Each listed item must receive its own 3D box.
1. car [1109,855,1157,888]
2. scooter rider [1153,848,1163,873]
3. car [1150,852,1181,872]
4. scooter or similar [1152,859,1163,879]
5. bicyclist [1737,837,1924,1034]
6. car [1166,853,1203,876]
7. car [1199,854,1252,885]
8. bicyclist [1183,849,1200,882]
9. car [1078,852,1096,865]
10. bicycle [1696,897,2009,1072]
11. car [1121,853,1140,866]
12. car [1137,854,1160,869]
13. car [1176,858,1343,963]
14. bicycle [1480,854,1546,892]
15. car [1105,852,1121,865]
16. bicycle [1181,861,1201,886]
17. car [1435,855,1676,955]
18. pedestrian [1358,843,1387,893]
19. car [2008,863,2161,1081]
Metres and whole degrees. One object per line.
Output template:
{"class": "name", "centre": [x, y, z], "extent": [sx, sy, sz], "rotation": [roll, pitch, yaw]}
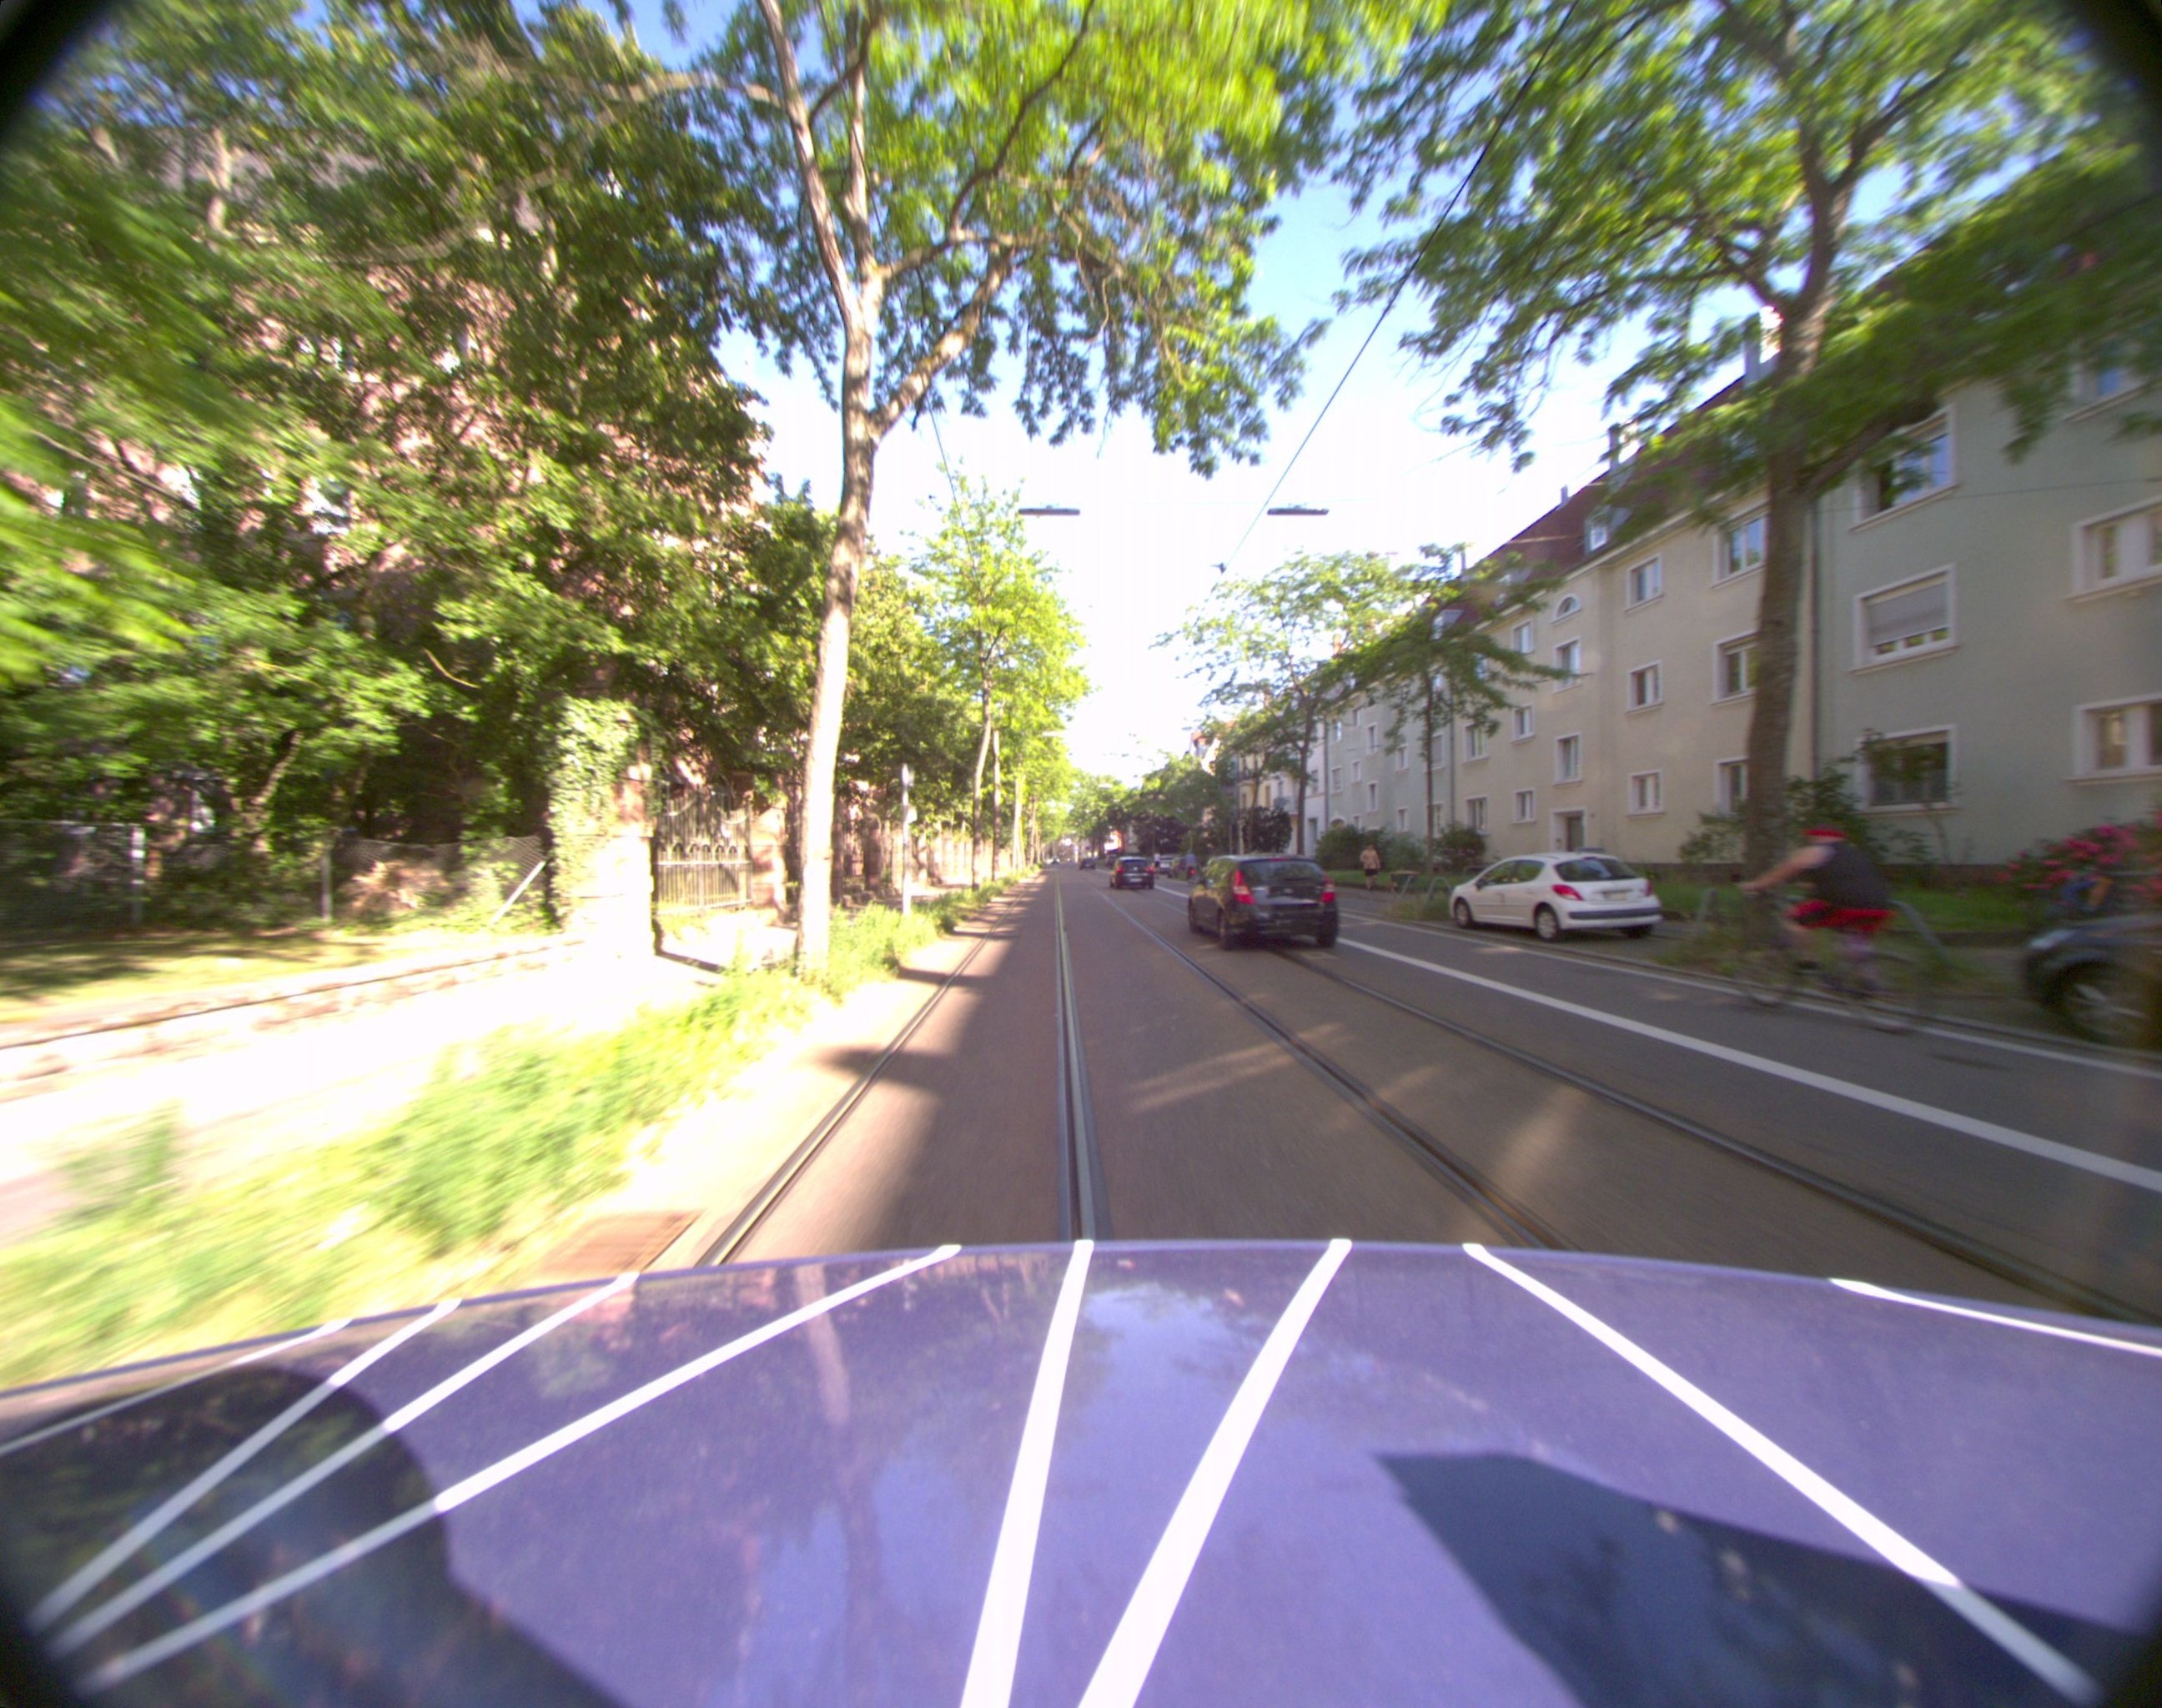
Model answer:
{"class": "car", "centre": [2.309, 0.759, 34.882], "extent": [1.704, 1.431, 4.070], "rotation": [-1, 0, -3]}
{"class": "scooter rider", "centre": [5.216, 0.441, 51.523], "extent": [0.498, 1.689, 0.786], "rotation": [3, 0, -2]}
{"class": "car", "centre": [7.006, 0.647, 63.522], "extent": [1.822, 1.502, 4.370], "rotation": [-2, 0, -3]}
{"class": "scooter or similar", "centre": [5.191, 1.003, 51.475], "extent": [0.521, 1.290, 1.377], "rotation": [3, 0, -2]}
{"class": "bicyclist", "centre": [6.513, 0.671, 6.654], "extent": [0.711, 1.598, 0.865], "rotation": [2, 0, -2]}
{"class": "car", "centre": [7.147, 0.689, 52.795], "extent": [1.763, 1.502, 4.437], "rotation": [-2, 0, -3]}
{"class": "car", "centre": [7.463, 0.749, 39.602], "extent": [1.822, 1.476, 4.205], "rotation": [-2, 0, -2]}
{"class": "bicyclist", "centre": [5.527, 0.571, 38.108], "extent": [0.628, 1.629, 0.940], "rotation": [2, 0, -2]}
{"class": "car", "centre": [0.672, 0.503, 85.814], "extent": [1.763, 1.431, 4.522], "rotation": [-1, 0, -3]}
{"class": "bicycle", "centre": [6.503, 1.024, 6.597], "extent": [0.696, 1.170, 1.912], "rotation": [2, 0, -2]}
{"class": "car", "centre": [6.078, 0.658, 93.713], "extent": [1.781, 1.532, 4.484], "rotation": [-2, 0, -2]}
{"class": "car", "centre": [6.593, 0.689, 74.669], "extent": [1.710, 1.398, 4.332], "rotation": [-2, 0, -3]}
{"class": "car", "centre": [2.847, 0.822, 13.031], "extent": [1.704, 1.462, 4.070], "rotation": [-1, 0, -3]}
{"class": "bicycle", "centre": [14.484, 0.632, 25.502], "extent": [1.912, 1.171, 0.522], "rotation": [-2, 1, -4]}
{"class": "car", "centre": [5.023, 0.699, 119.498], "extent": [1.875, 1.812, 4.770], "rotation": [-1, 0, -4]}
{"class": "bicycle", "centre": [5.517, 0.960, 38.081], "extent": [0.628, 1.170, 1.912], "rotation": [2, 0, -2]}
{"class": "car", "centre": [8.377, 0.797, 13.919], "extent": [1.707, 1.476, 4.078], "rotation": [-3, 0, -2]}
{"class": "pedestrian", "centre": [10.512, 0.490, 27.414], "extent": [0.693, 1.791, 0.813], "rotation": [0, 1, -2]}
{"class": "car", "centre": [8.593, 0.843, 4.419], "extent": [1.691, 1.476, 3.759], "rotation": [-3, 0, -3]}
